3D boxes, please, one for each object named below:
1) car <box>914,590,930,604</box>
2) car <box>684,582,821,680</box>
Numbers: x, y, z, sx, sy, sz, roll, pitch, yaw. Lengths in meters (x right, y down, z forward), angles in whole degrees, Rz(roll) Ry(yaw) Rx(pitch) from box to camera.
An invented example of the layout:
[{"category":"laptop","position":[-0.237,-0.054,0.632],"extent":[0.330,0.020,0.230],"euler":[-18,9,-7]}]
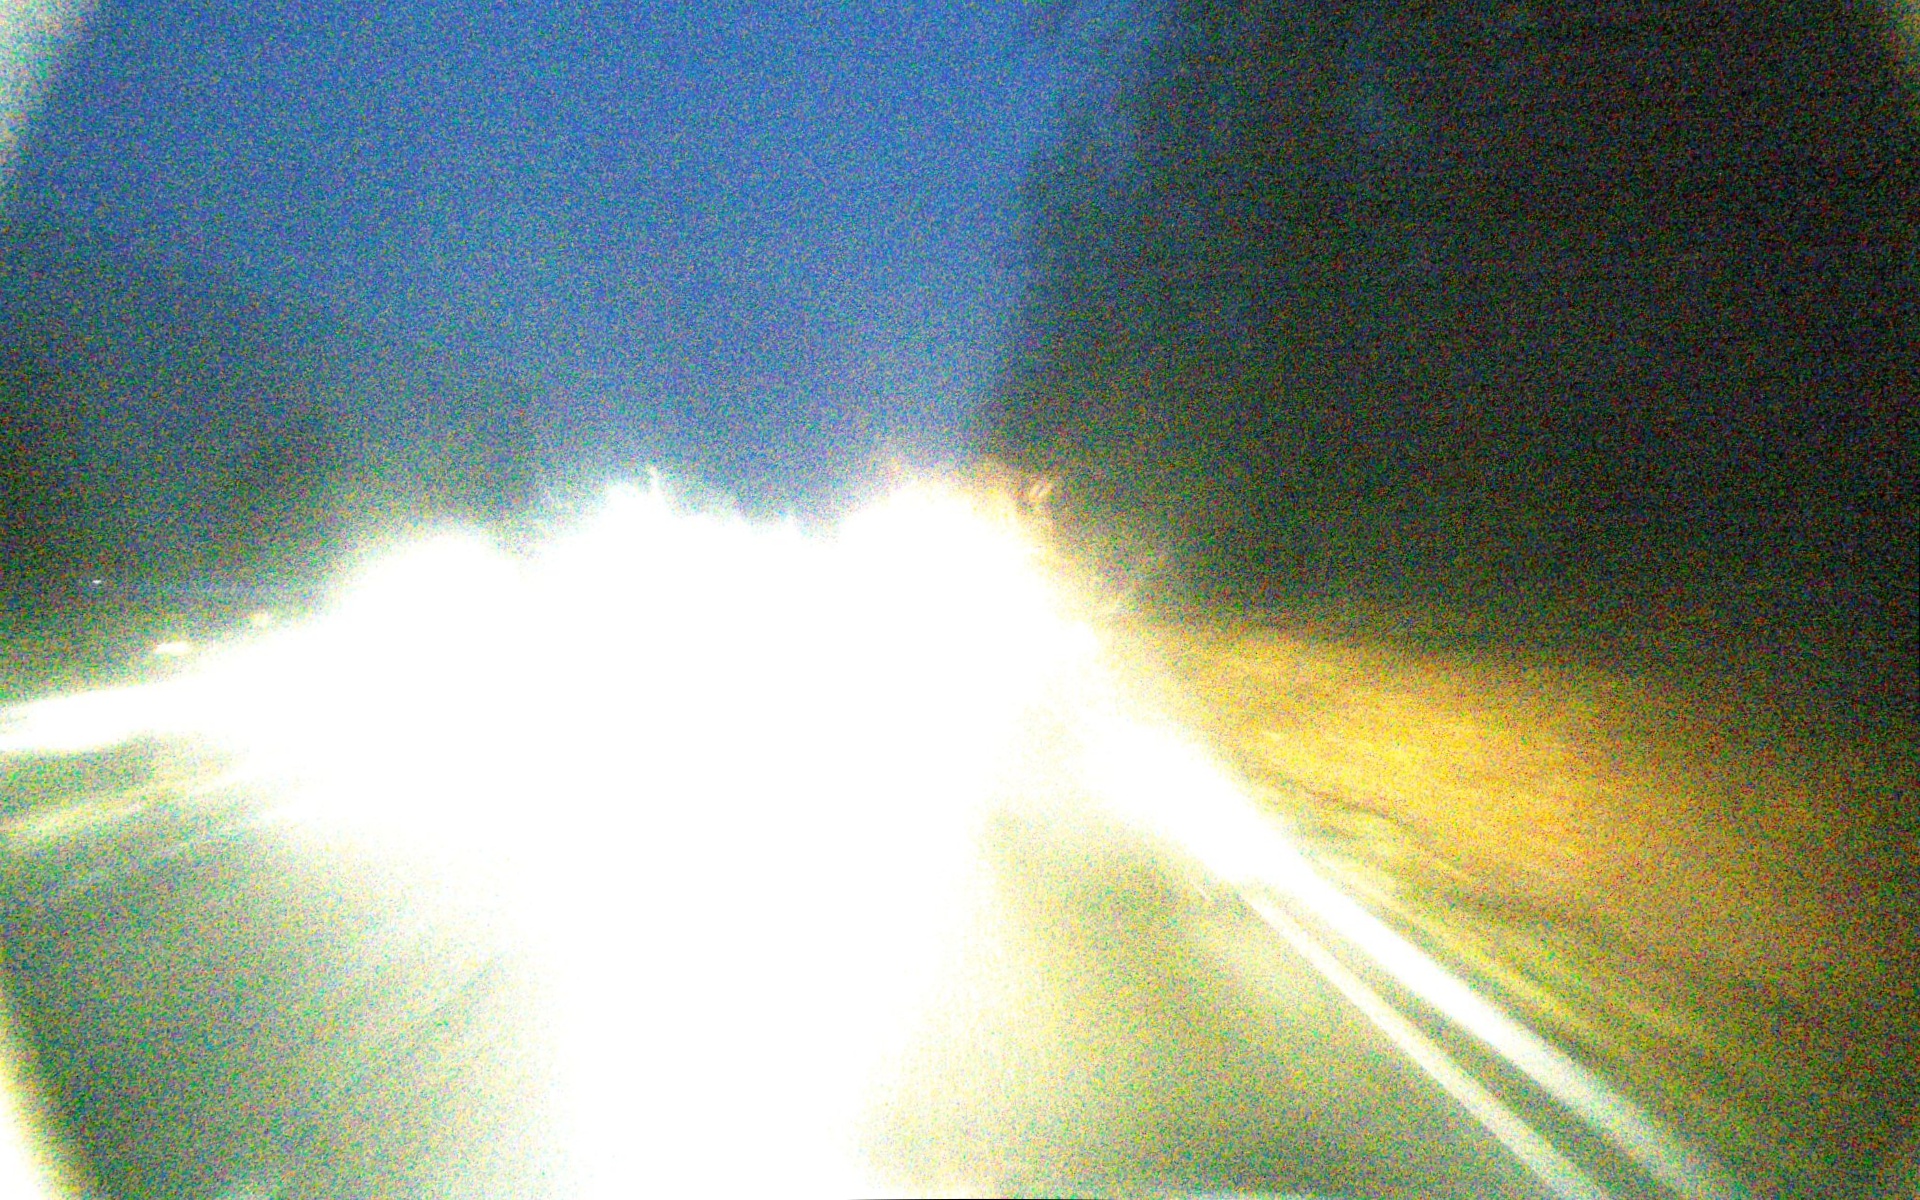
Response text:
[{"category":"car","position":[-4.655,-0.354,204.304],"extent":[1.953,1.695,3.999],"euler":[0,0,-1]},{"category":"car","position":[-3.758,0.527,30.689],"extent":[2.055,1.668,4.454],"euler":[0,0,-1]}]
